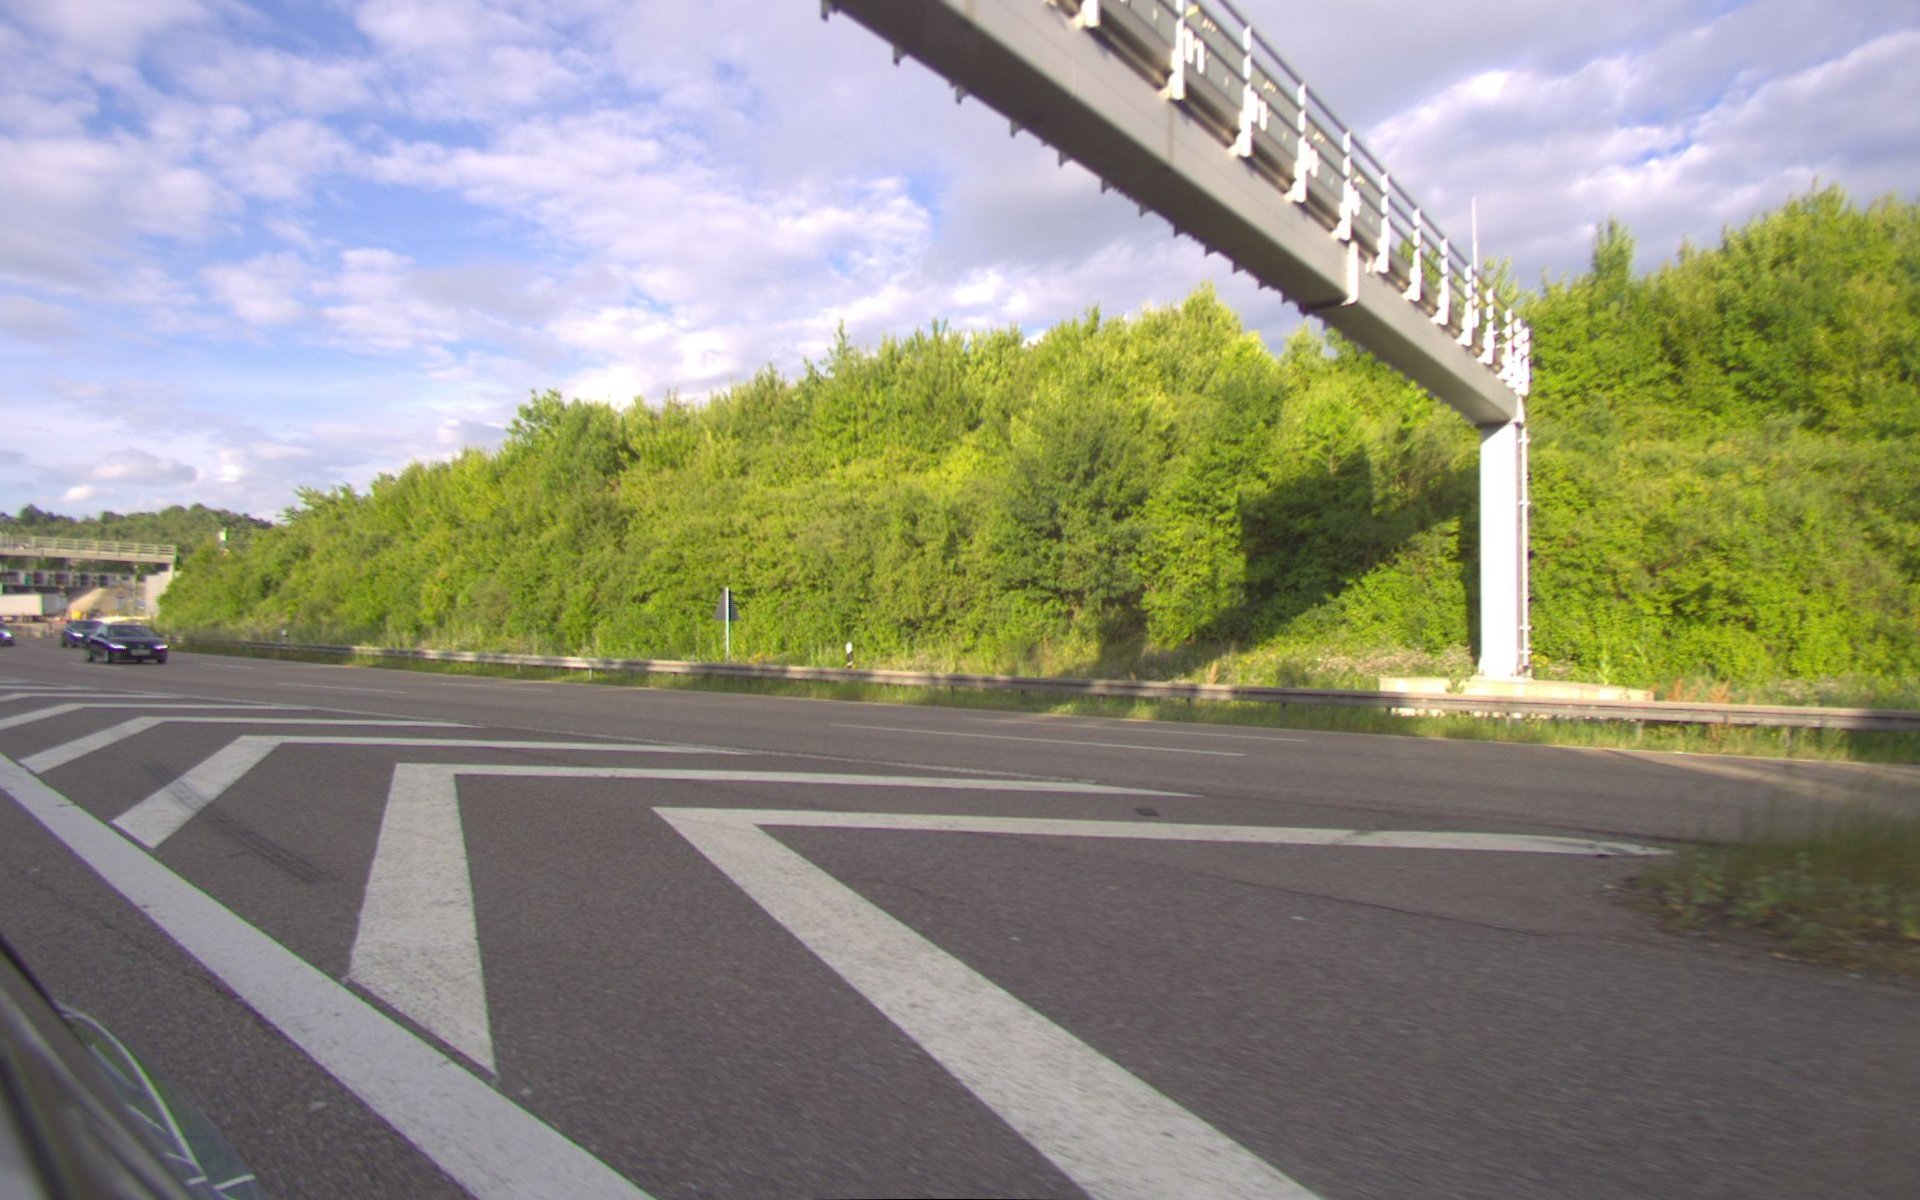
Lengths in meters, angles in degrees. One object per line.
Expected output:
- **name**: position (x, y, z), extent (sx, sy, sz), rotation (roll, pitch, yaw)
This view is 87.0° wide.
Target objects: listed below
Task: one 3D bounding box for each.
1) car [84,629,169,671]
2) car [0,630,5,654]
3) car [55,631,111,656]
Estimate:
- **car**: position (-30.178, 1.773, 36.615), extent (3.998, 1.417, 1.739), rotation (-1, -2, 41)
- **car**: position (-54.970, 2.359, 56.692), extent (3.998, 1.301, 1.774), rotation (-1, -2, 41)
- **car**: position (-49.603, 2.418, 57.249), extent (3.998, 1.301, 1.856), rotation (-1, -1, 41)
